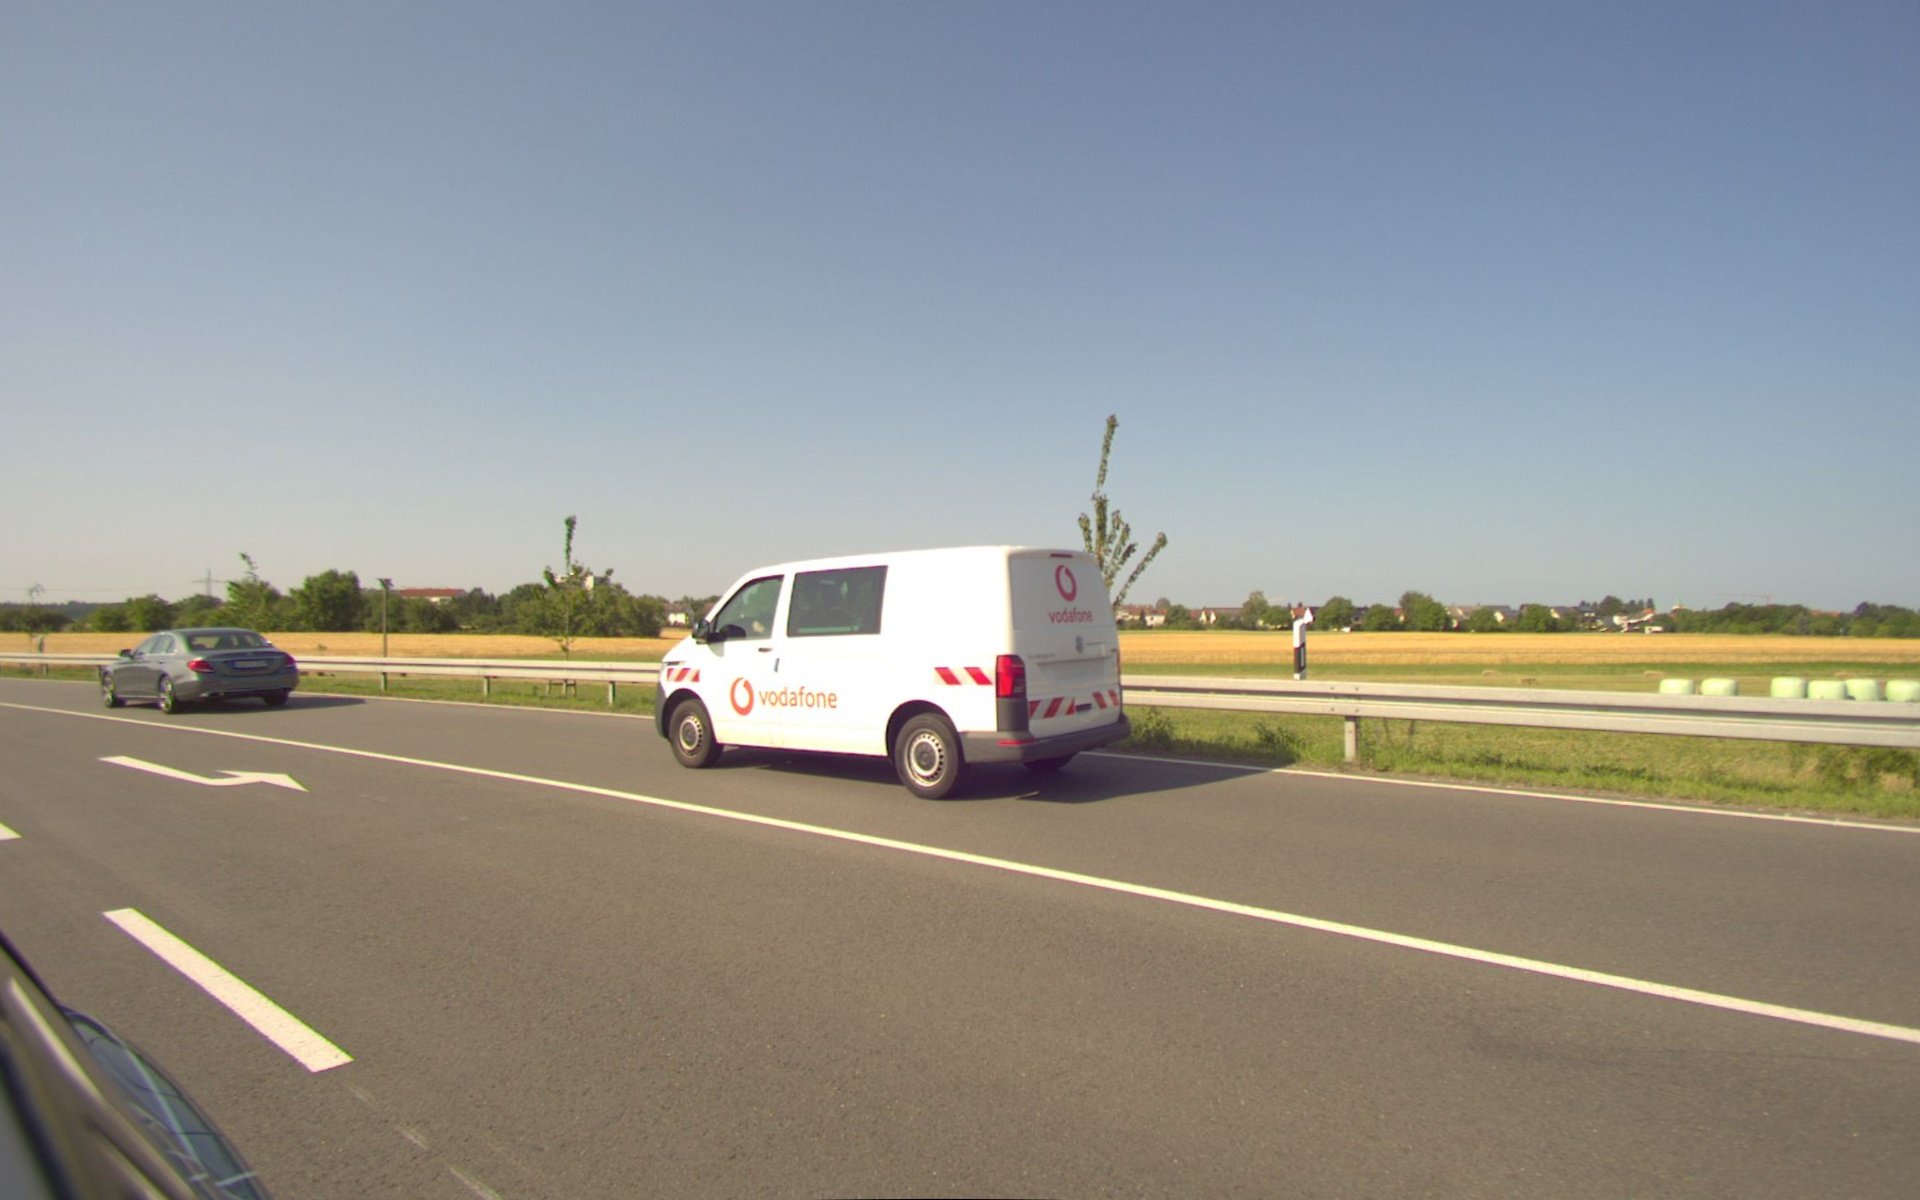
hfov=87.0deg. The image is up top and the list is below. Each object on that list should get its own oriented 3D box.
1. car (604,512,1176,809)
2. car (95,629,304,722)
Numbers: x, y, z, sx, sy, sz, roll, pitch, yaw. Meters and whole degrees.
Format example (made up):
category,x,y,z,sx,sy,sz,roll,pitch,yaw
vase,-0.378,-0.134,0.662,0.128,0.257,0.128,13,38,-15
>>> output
category,x,y,z,sx,sy,sz,roll,pitch,yaw
car,-0.872,0.538,9.347,5.147,2.029,2.094,-4,-2,38
car,-14.165,1.308,18.759,4.695,1.459,1.779,-1,0,36
